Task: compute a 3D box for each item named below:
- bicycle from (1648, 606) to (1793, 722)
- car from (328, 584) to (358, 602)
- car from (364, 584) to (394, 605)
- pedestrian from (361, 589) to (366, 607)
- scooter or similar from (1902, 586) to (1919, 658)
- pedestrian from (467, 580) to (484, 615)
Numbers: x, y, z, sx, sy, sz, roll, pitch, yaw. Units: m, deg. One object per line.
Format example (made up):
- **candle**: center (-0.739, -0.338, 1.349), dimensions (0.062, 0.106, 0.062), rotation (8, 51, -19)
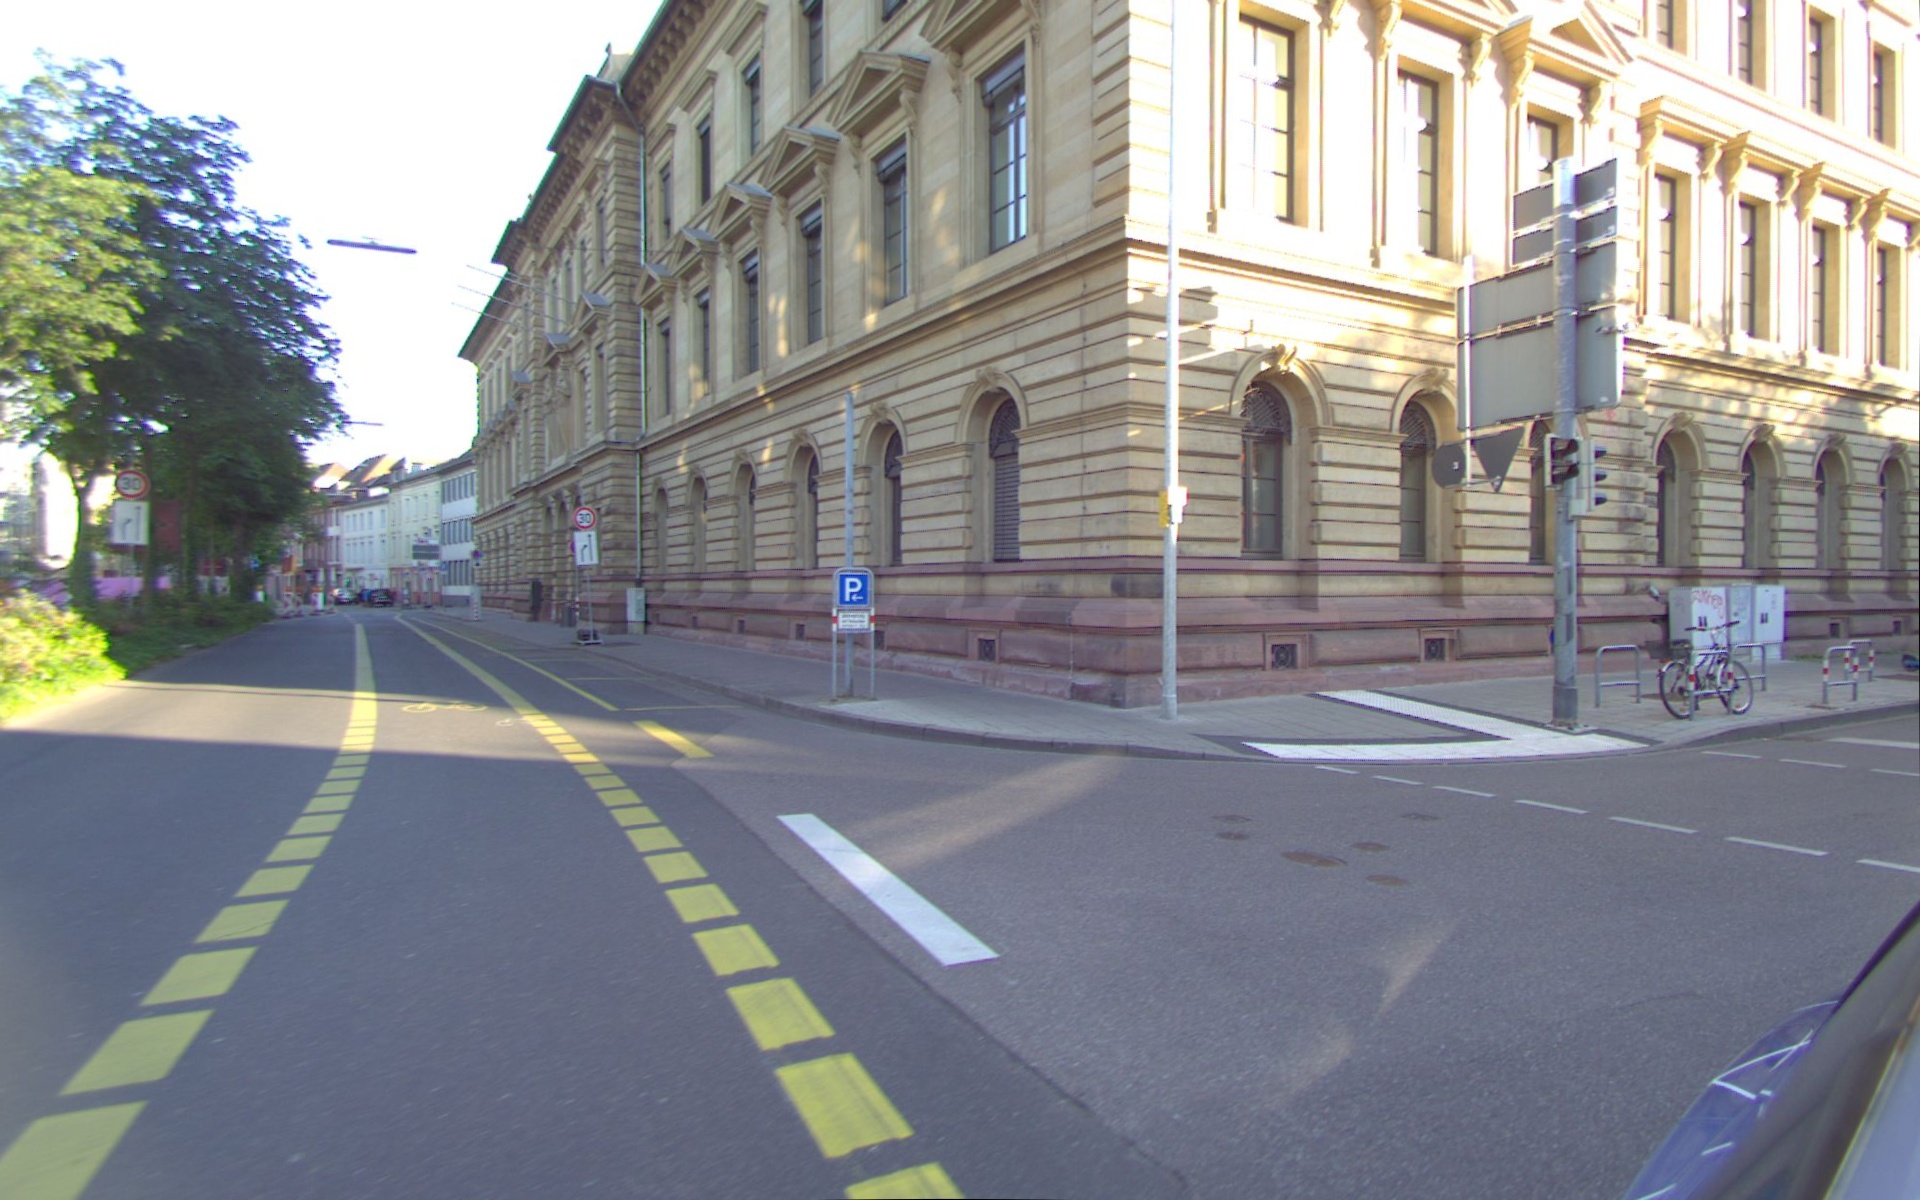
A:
- **bicycle**: center (8.979, 0.716, 11.934), dimensions (1.881, 1.203, 0.585), rotation (-2, 1, -27)
- **car**: center (-59.541, -0.664, 97.697), dimensions (1.689, 1.680, 3.816), rotation (-1, 1, -44)
- **car**: center (-50.851, -0.502, 88.552), dimensions (1.688, 1.871, 3.820), rotation (-1, 1, -40)
- **pedestrian**: center (-51.560, -0.186, 87.481), dimensions (0.358, 1.510, 0.330), rotation (0, 0, -41)
- **scooter or similar**: center (16.758, 0.396, 17.062), dimensions (0.572, 1.210, 1.136), rotation (0, 3, -9)
- **pedestrian**: center (-25.859, -0.142, 54.004), dimensions (0.760, 1.876, 0.812), rotation (0, 0, -32)
